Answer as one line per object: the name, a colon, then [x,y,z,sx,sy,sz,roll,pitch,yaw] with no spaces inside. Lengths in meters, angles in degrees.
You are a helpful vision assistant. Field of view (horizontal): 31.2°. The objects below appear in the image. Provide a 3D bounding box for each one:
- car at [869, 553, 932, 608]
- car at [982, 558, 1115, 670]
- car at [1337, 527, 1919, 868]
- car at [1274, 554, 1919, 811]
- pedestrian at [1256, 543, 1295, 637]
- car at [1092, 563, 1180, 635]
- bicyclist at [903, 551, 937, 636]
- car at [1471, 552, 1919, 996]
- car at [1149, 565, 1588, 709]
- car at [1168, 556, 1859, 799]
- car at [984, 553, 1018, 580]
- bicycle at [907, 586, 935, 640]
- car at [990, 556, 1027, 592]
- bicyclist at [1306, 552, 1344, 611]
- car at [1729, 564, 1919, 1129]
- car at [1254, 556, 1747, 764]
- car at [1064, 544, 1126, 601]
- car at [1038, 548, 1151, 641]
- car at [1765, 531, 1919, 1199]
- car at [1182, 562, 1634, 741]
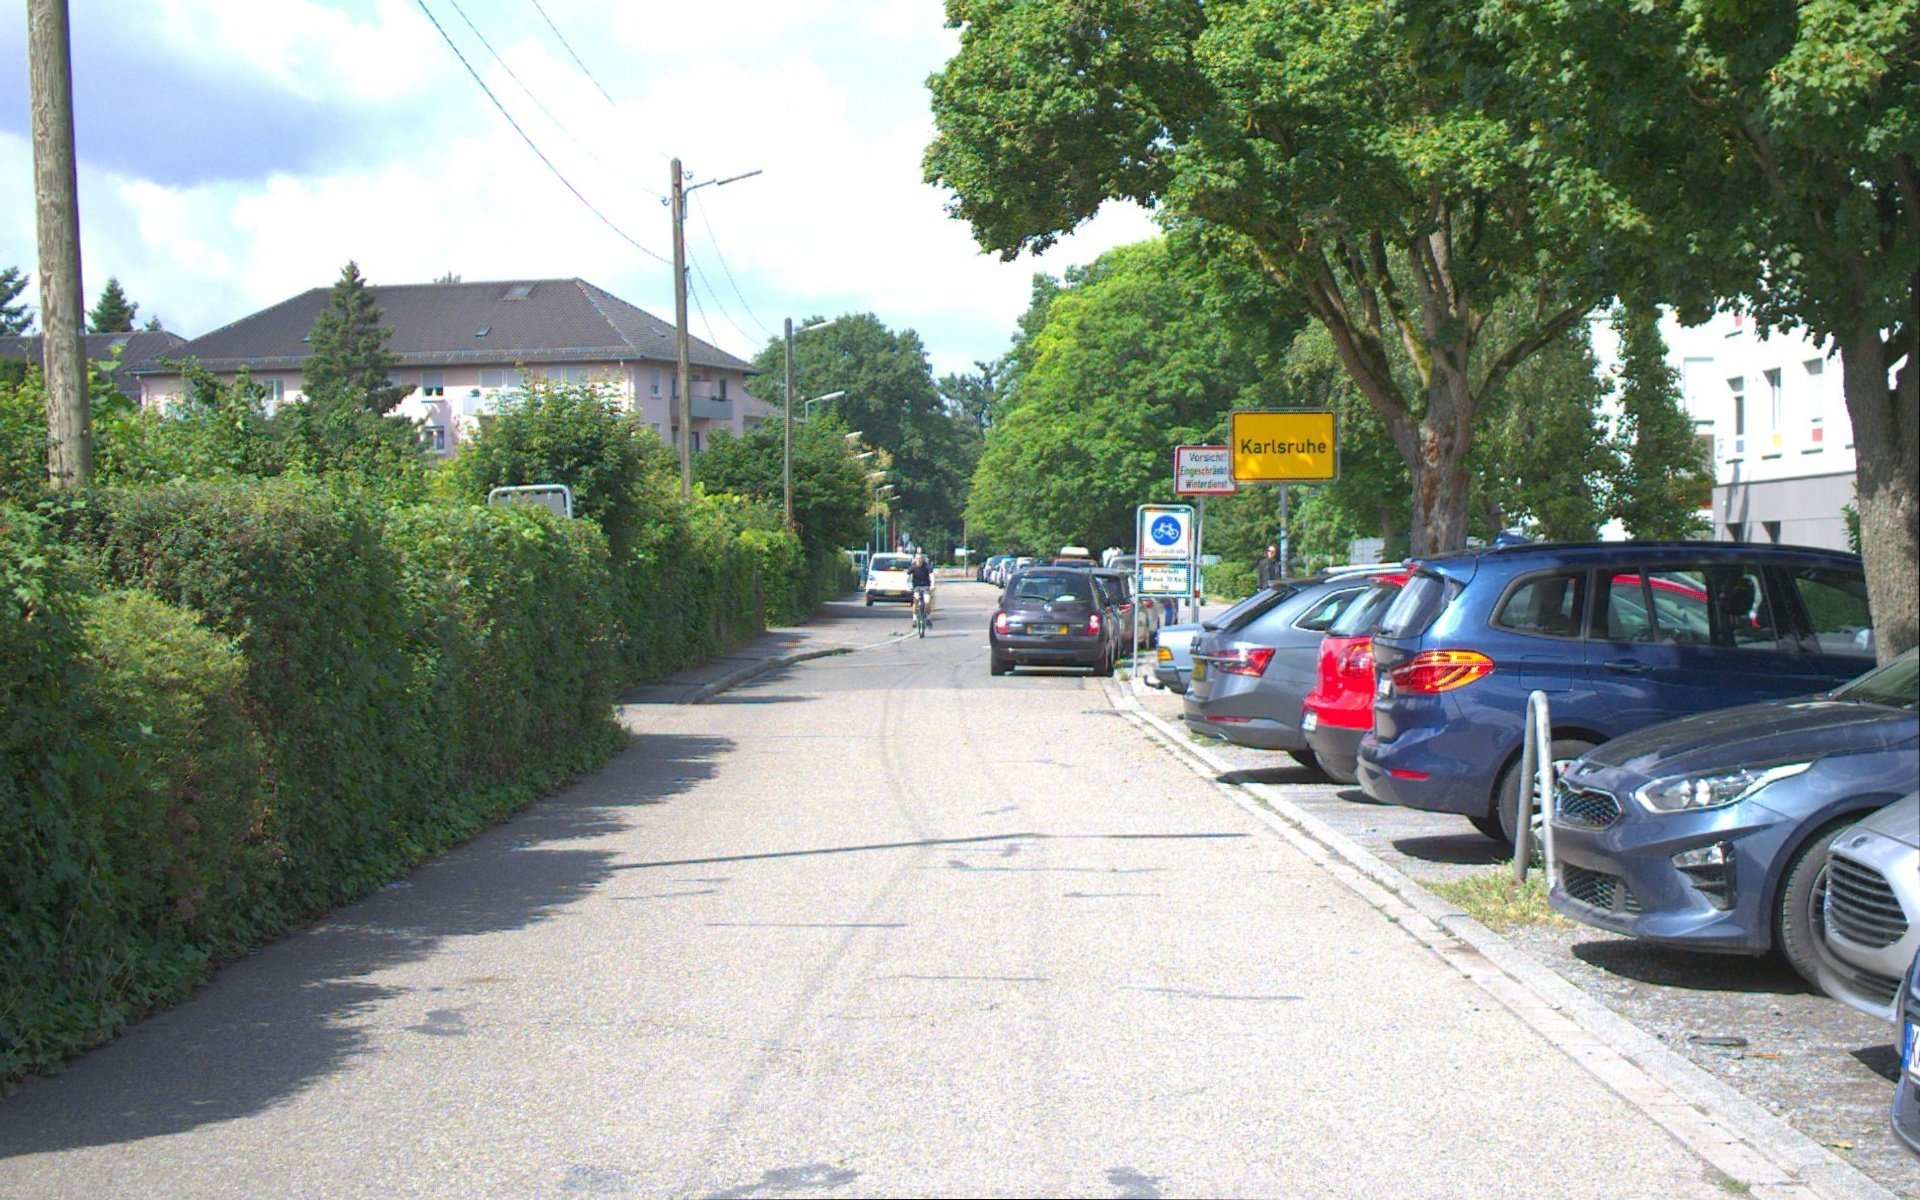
car: [-2.010,-0.671,117.701,1.903,1.808,4.000,1,0,2]
car: [1.302,0.179,49.122,1.663,1.501,3.999,1,0,5]
car: [4.111,0.461,17.675,4.154,1.632,1.879,-1,0,1]
car: [3.994,0.496,21.930,3.809,1.527,1.762,-1,0,0]
pedestrian: [5.934,-0.184,64.621,0.610,1.739,0.721,1,0,13]
car: [3.621,-0.036,71.188,1.663,1.430,3.542,1,0,1]
bicyclist: [-0.877,-0.153,76.129,0.659,1.846,1.043,-2,0,2]
car: [4.225,0.612,12.696,4.335,1.487,1.976,1,0,-1]
car: [4.150,0.365,35.356,4.359,1.387,1.718,-1,0,4]
car: [3.831,0.520,24.340,4.548,1.573,1.809,1,0,-1]
car: [2.529,-2.058,211.751,1.852,1.612,3.999,1,0,4]
bicycle: [-0.861,0.284,76.082,0.518,1.146,1.827,-2,1,2]
car: [2.773,-1.494,197.005,1.993,2.007,4.000,1,0,-1]
bicyclist: [11.139,-0.551,104.917,0.786,1.779,0.892,1,0,32]
car: [4.380,0.675,10.015,3.813,1.487,1.902,1,0,-1]
car: [4.244,0.457,27.326,3.573,1.544,1.667,1,0,-3]
car: [4.707,-0.953,119.870,2.058,1.919,4.540,1,0,2]
car: [2.386,-0.113,60.200,1.664,1.547,3.636,1,0,7]
car: [4.091,0.692,7.192,4.302,1.588,2.000,1,0,-1]
car: [4.146,0.463,32.247,3.933,1.554,1.868,1,0,-2]
